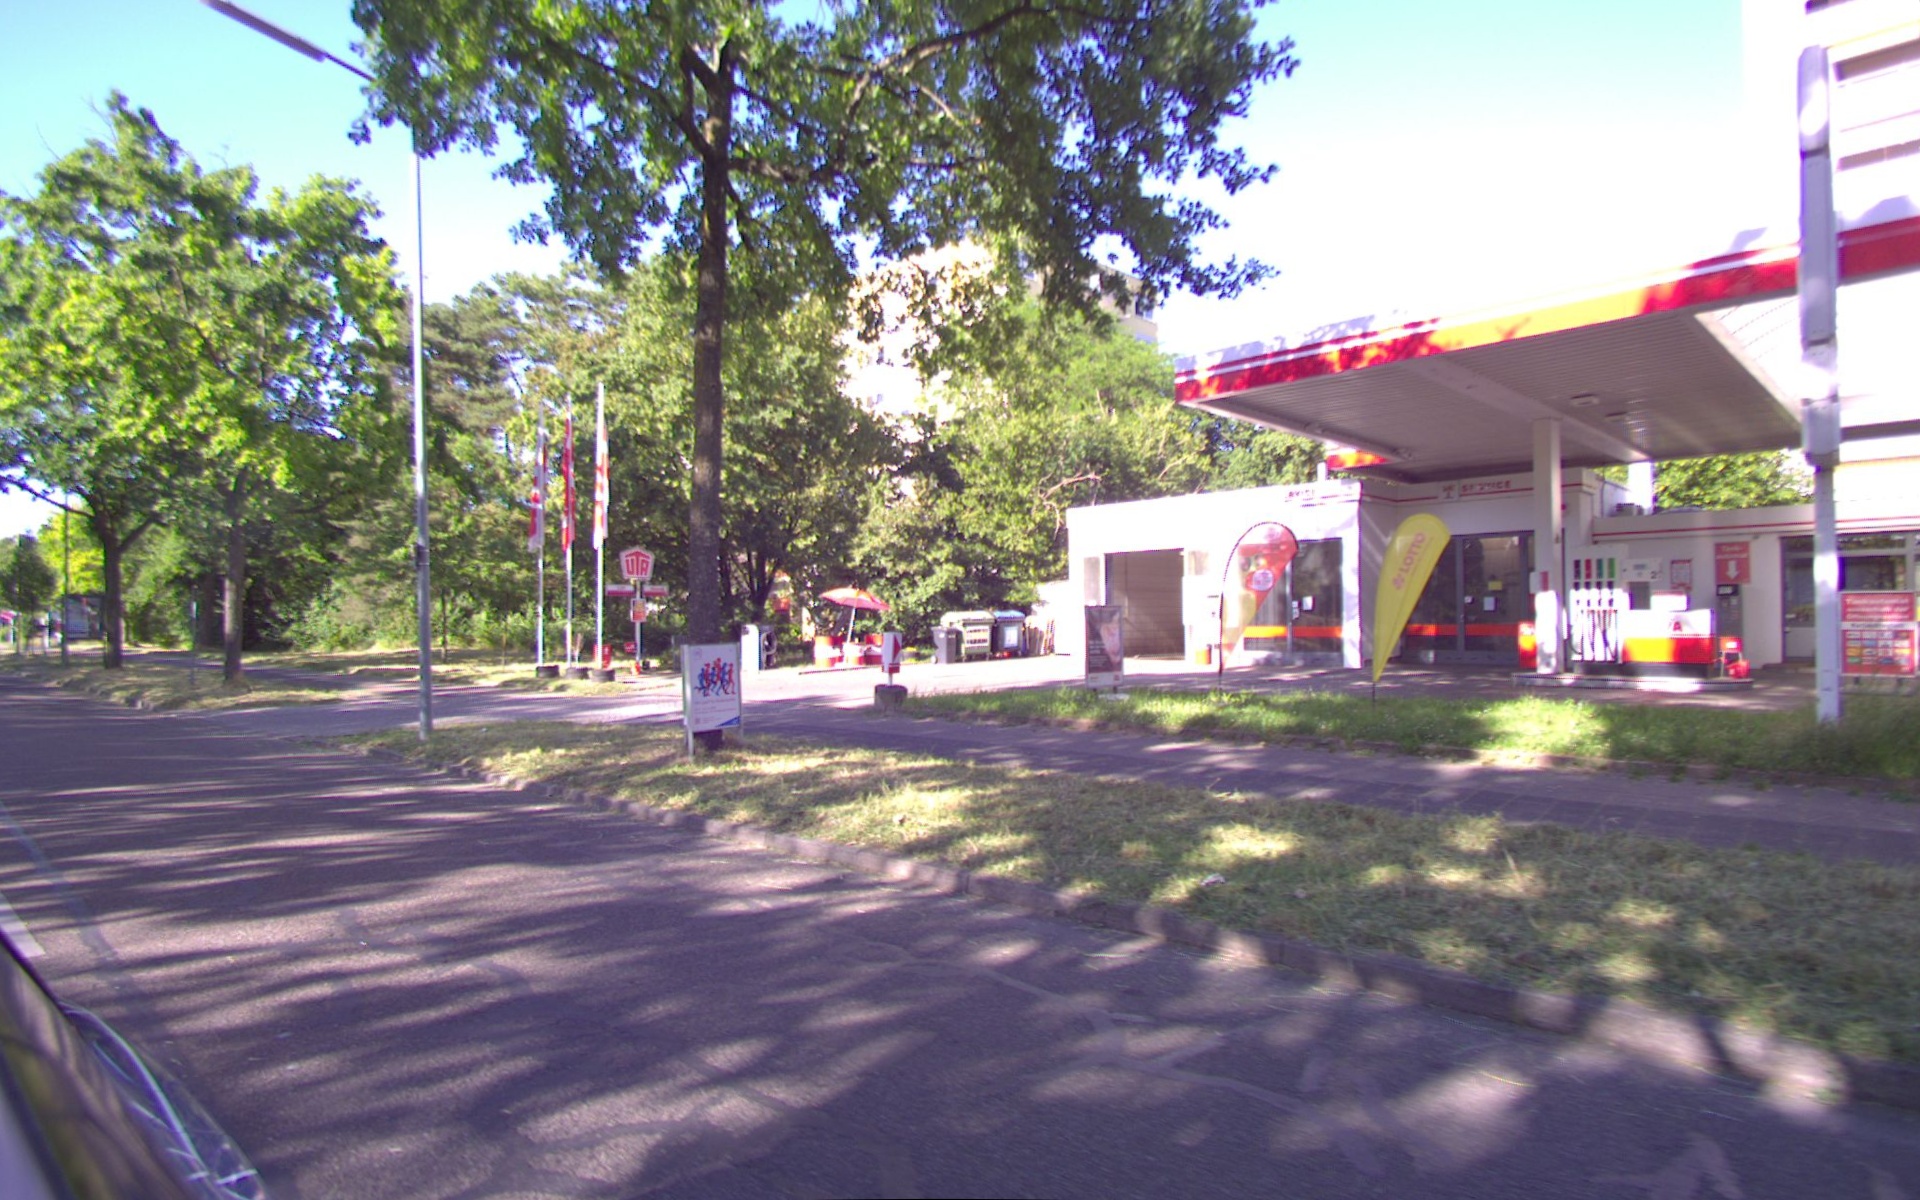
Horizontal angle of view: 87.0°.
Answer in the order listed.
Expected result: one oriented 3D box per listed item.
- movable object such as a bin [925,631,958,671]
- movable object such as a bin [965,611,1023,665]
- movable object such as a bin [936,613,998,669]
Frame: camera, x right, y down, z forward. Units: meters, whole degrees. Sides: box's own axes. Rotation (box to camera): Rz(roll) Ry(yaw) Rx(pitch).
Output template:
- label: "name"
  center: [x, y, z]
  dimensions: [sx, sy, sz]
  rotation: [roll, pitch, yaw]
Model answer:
- label: "movable object such as a bin"
  center: [-0.531, 1.443, 28.696]
  dimensions: [0.768, 1.094, 0.562]
  rotation: [-2, -2, 41]
- label: "movable object such as a bin"
  center: [1.027, 1.129, 30.293]
  dimensions: [1.163, 1.553, 1.290]
  rotation: [-2, -1, 41]
- label: "movable object such as a bin"
  center: [0.198, 1.180, 29.370]
  dimensions: [1.267, 1.553, 1.290]
  rotation: [-2, -2, 41]
